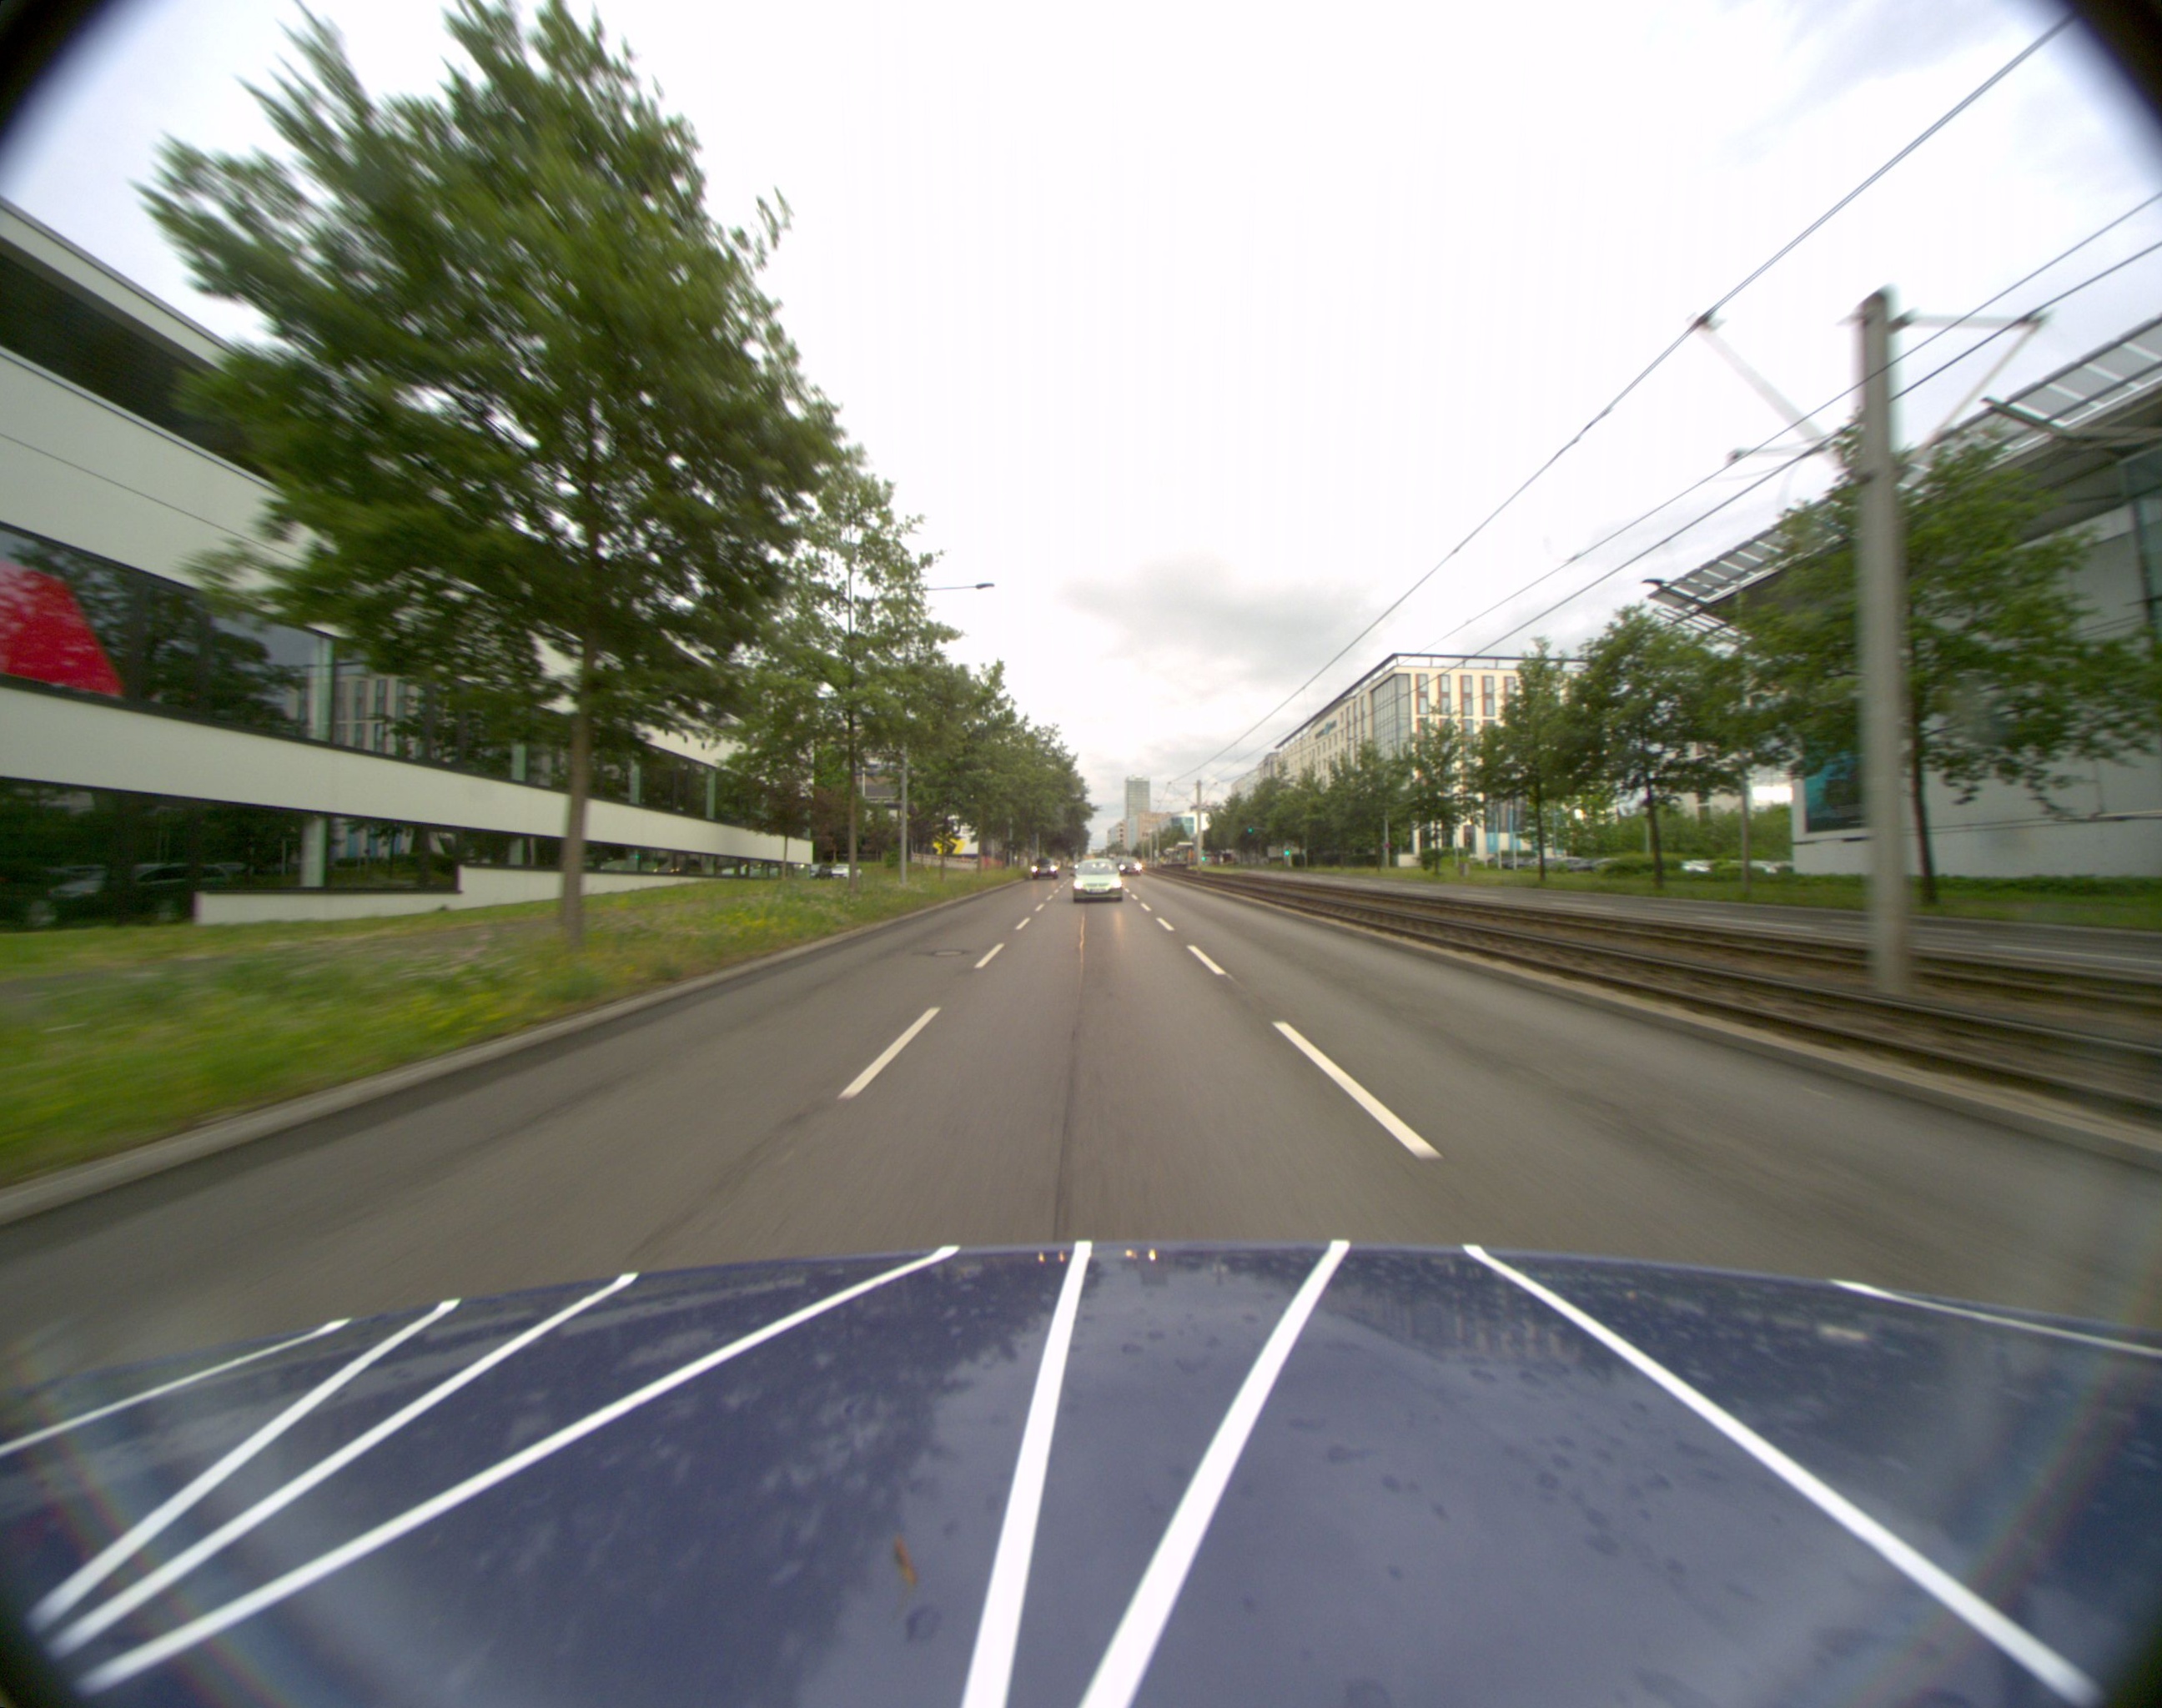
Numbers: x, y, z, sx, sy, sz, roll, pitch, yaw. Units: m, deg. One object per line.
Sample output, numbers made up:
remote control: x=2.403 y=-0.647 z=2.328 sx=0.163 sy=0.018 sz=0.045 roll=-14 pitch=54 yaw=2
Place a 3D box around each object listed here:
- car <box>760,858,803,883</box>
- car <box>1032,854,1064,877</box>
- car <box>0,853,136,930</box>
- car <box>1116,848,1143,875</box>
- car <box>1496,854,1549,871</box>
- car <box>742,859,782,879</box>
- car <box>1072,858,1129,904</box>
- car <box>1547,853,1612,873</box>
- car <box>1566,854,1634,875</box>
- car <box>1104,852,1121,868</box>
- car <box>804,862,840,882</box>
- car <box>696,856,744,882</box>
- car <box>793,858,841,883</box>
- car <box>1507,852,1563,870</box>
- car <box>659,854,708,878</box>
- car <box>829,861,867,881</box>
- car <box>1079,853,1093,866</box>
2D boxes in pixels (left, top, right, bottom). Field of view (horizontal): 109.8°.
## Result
car: x=-21.912 y=1.176 z=55.691 sx=1.702 sy=1.666 sz=3.642 roll=1 pitch=1 yaw=0
car: x=-2.476 y=0.905 z=57.729 sx=1.828 sy=1.599 sz=4.117 roll=-2 pitch=-2 yaw=6
car: x=-19.751 y=0.674 z=13.127 sx=1.902 sy=1.330 sz=3.922 roll=-1 pitch=1 yaw=0
car: x=3.914 y=0.553 z=61.601 sx=1.998 sy=2.002 sz=4.001 roll=-3 pitch=1 yaw=4
car: x=39.648 y=0.747 z=68.350 sx=3.990 sy=1.383 sz=1.806 roll=-2 pitch=1 yaw=28
car: x=-26.533 y=1.258 z=63.372 sx=1.702 sy=1.476 sz=3.642 roll=-2 pitch=1 yaw=0
car: x=0.787 y=0.937 z=27.491 sx=1.828 sy=1.499 sz=4.116 roll=-2 pitch=-1 yaw=4
car: x=38.627 y=0.715 z=58.981 sx=3.990 sy=1.383 sz=1.806 roll=-2 pitch=1 yaw=28
car: x=38.338 y=0.753 z=56.231 sx=3.990 sy=1.383 sz=1.806 roll=-2 pitch=1 yaw=28
car: x=3.730 y=0.748 z=89.116 sx=1.860 sy=1.798 sz=4.116 roll=-2 pitch=-2 yaw=5
car: x=-21.669 y=1.486 z=63.752 sx=1.702 sy=1.476 sz=3.642 roll=-2 pitch=1 yaw=0
car: x=-26.477 y=1.067 z=55.872 sx=1.702 sy=1.666 sz=3.642 roll=-4 pitch=1 yaw=0
car: x=-19.324 y=1.158 z=55.894 sx=1.907 sy=1.666 sz=4.589 roll=0 pitch=1 yaw=0
car: x=39.041 y=0.638 z=65.417 sx=3.990 sy=1.383 sz=1.806 roll=-2 pitch=1 yaw=28
car: x=-29.240 y=0.848 z=56.012 sx=1.702 sy=1.666 sz=3.521 roll=2 pitch=1 yaw=0
car: x=-19.227 y=1.379 z=62.855 sx=1.702 sy=1.476 sz=4.461 roll=-2 pitch=1 yaw=0
car: x=0.728 y=0.823 z=117.102 sx=1.860 sy=1.798 sz=4.116 roll=-2 pitch=-2 yaw=3
